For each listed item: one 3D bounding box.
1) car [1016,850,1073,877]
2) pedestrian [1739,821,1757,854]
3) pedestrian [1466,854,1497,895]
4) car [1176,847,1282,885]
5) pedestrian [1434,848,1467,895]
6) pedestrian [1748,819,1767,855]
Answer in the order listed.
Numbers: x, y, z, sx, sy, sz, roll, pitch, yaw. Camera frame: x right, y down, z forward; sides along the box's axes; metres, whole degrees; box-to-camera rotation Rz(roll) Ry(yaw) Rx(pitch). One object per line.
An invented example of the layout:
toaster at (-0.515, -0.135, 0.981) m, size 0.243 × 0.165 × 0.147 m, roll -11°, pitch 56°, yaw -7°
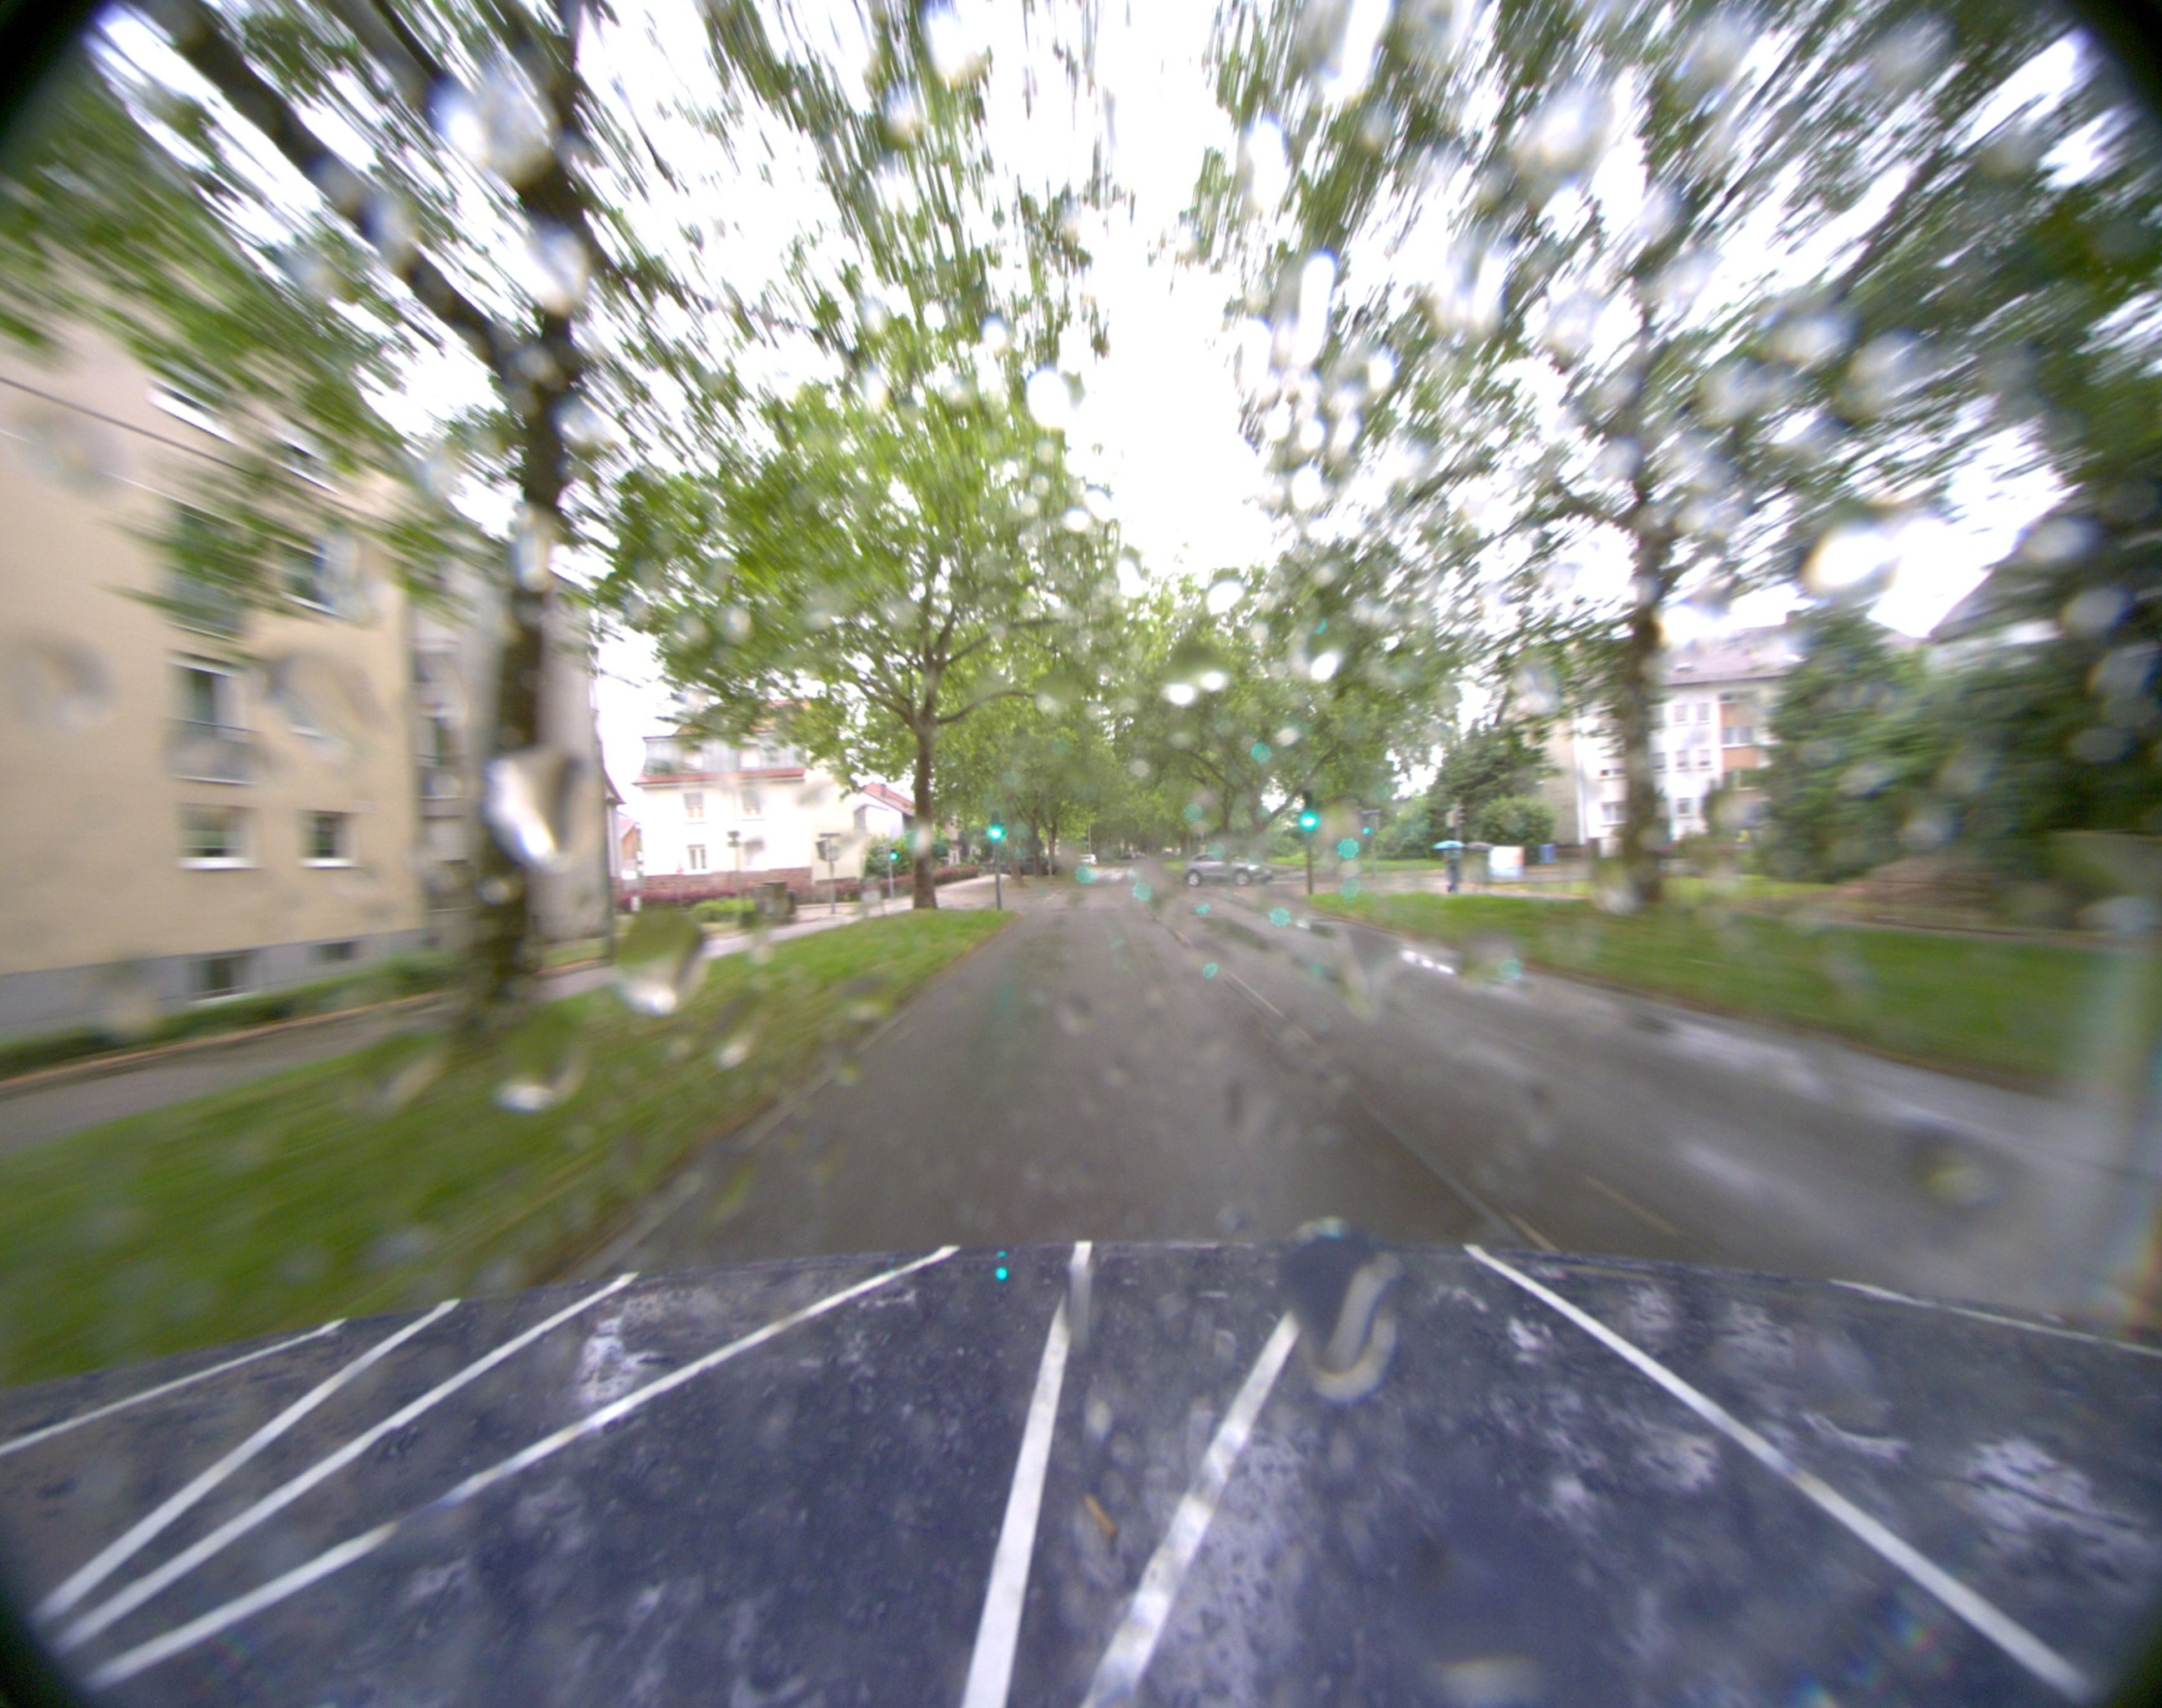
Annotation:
car at (-2.782, 0.747, 58.926) m, size 4.263 × 1.845 × 1.891 m, roll -3°, pitch 1°, yaw -1°
pedestrian at (34.649, -0.836, 39.483) m, size 0.505 × 1.695 × 0.461 m, roll -3°, pitch 1°, yaw -7°
pedestrian at (12.716, 0.633, 24.131) m, size 0.517 × 1.254 × 0.849 m, roll -3°, pitch 1°, yaw 1°
car at (7.148, 0.607, 37.106) m, size 2.004 × 1.677 × 4.709 m, roll -3°, pitch 1°, yaw -43°
pedestrian at (11.778, 0.535, 24.257) m, size 0.599 × 1.445 × 0.856 m, roll -3°, pitch 1°, yaw 1°
pedestrian at (34.392, -0.855, 38.621) m, size 0.505 × 1.772 × 0.461 m, roll -3°, pitch 1°, yaw -7°
